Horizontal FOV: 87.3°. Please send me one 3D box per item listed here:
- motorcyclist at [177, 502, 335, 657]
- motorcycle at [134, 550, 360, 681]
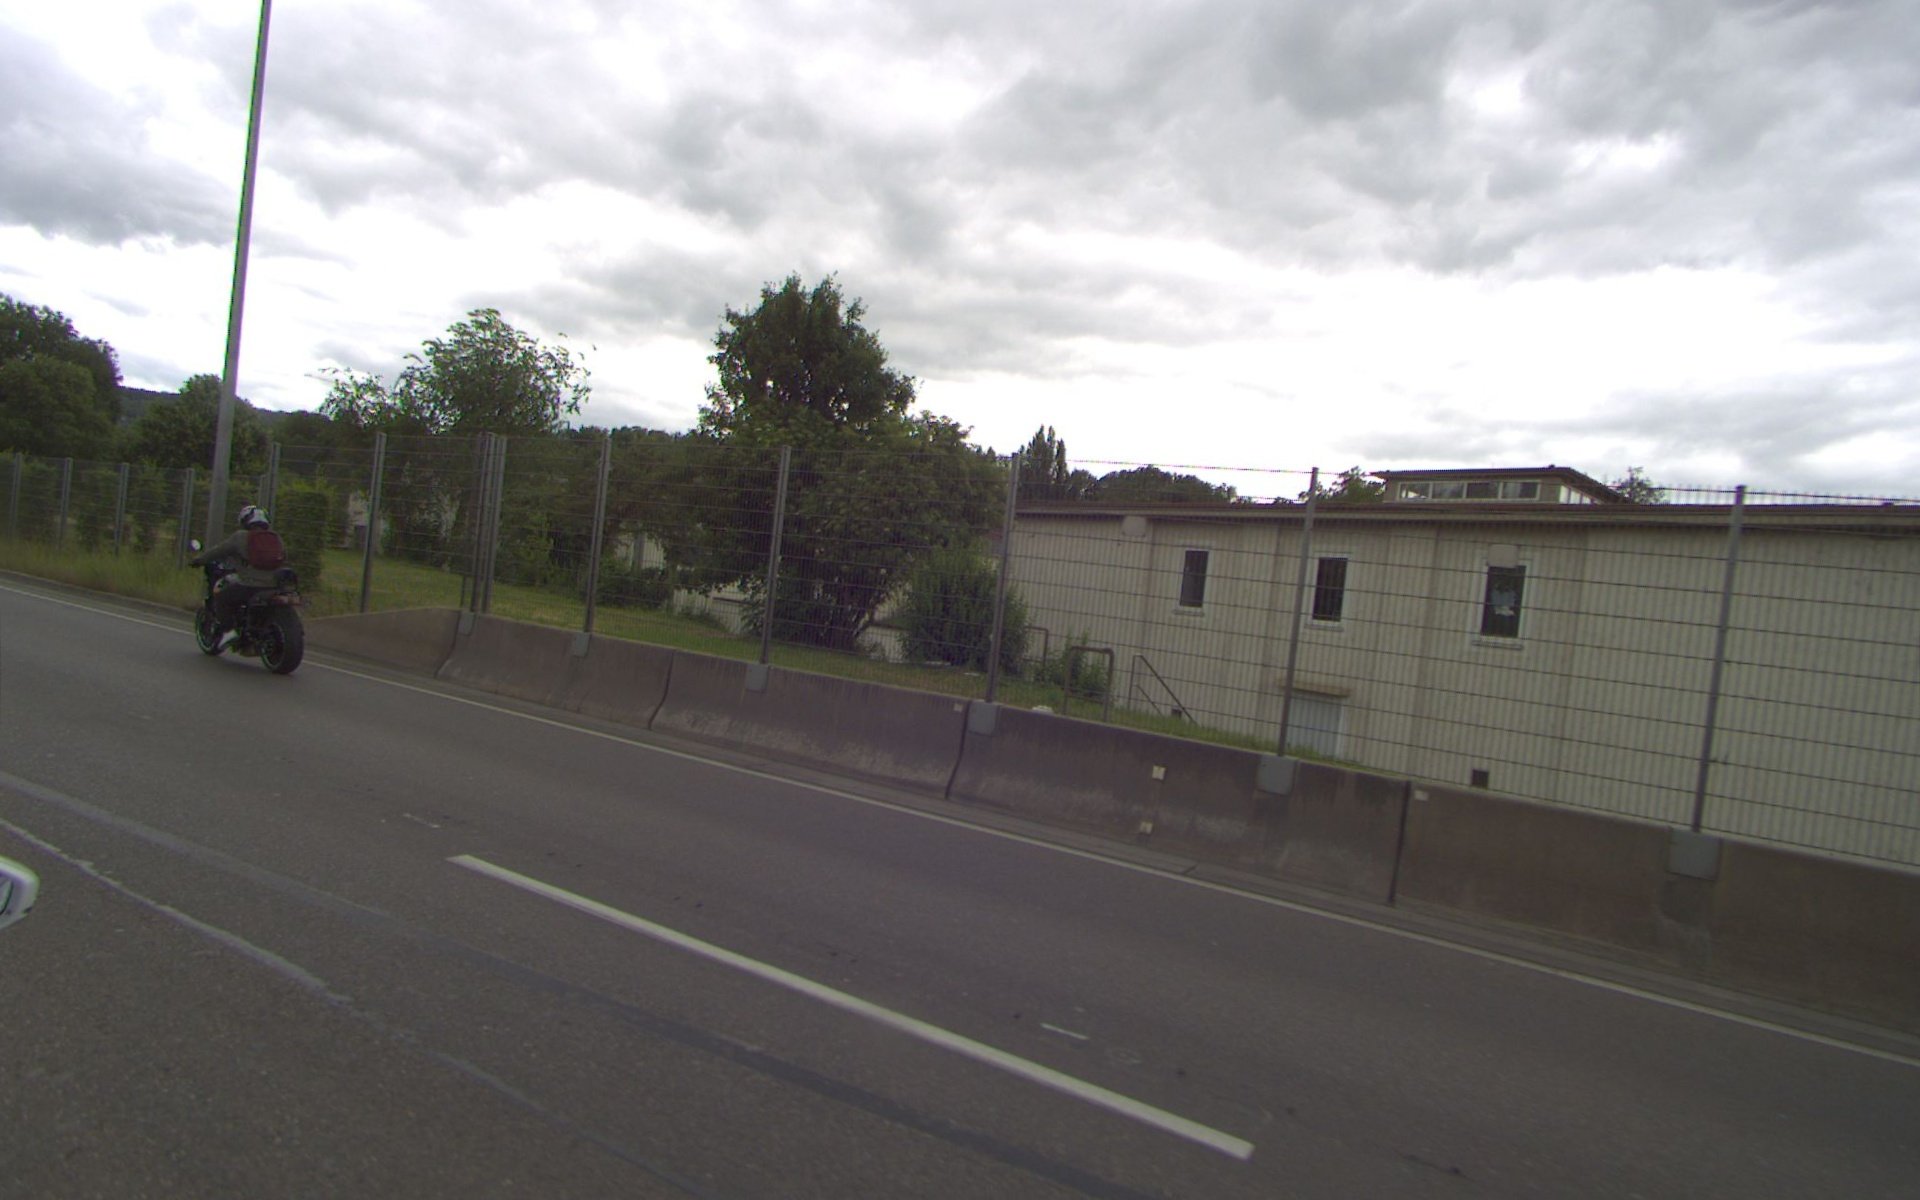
[{"bbox_3d":[-7.527,-0.205,10.773,0.949,1.495,0.915,7,0,25],"label":"motorcyclist"},{"bbox_3d":[-7.723,0.148,10.859,2.617,1.097,0.745,7,1,26],"label":"motorcycle"}]
